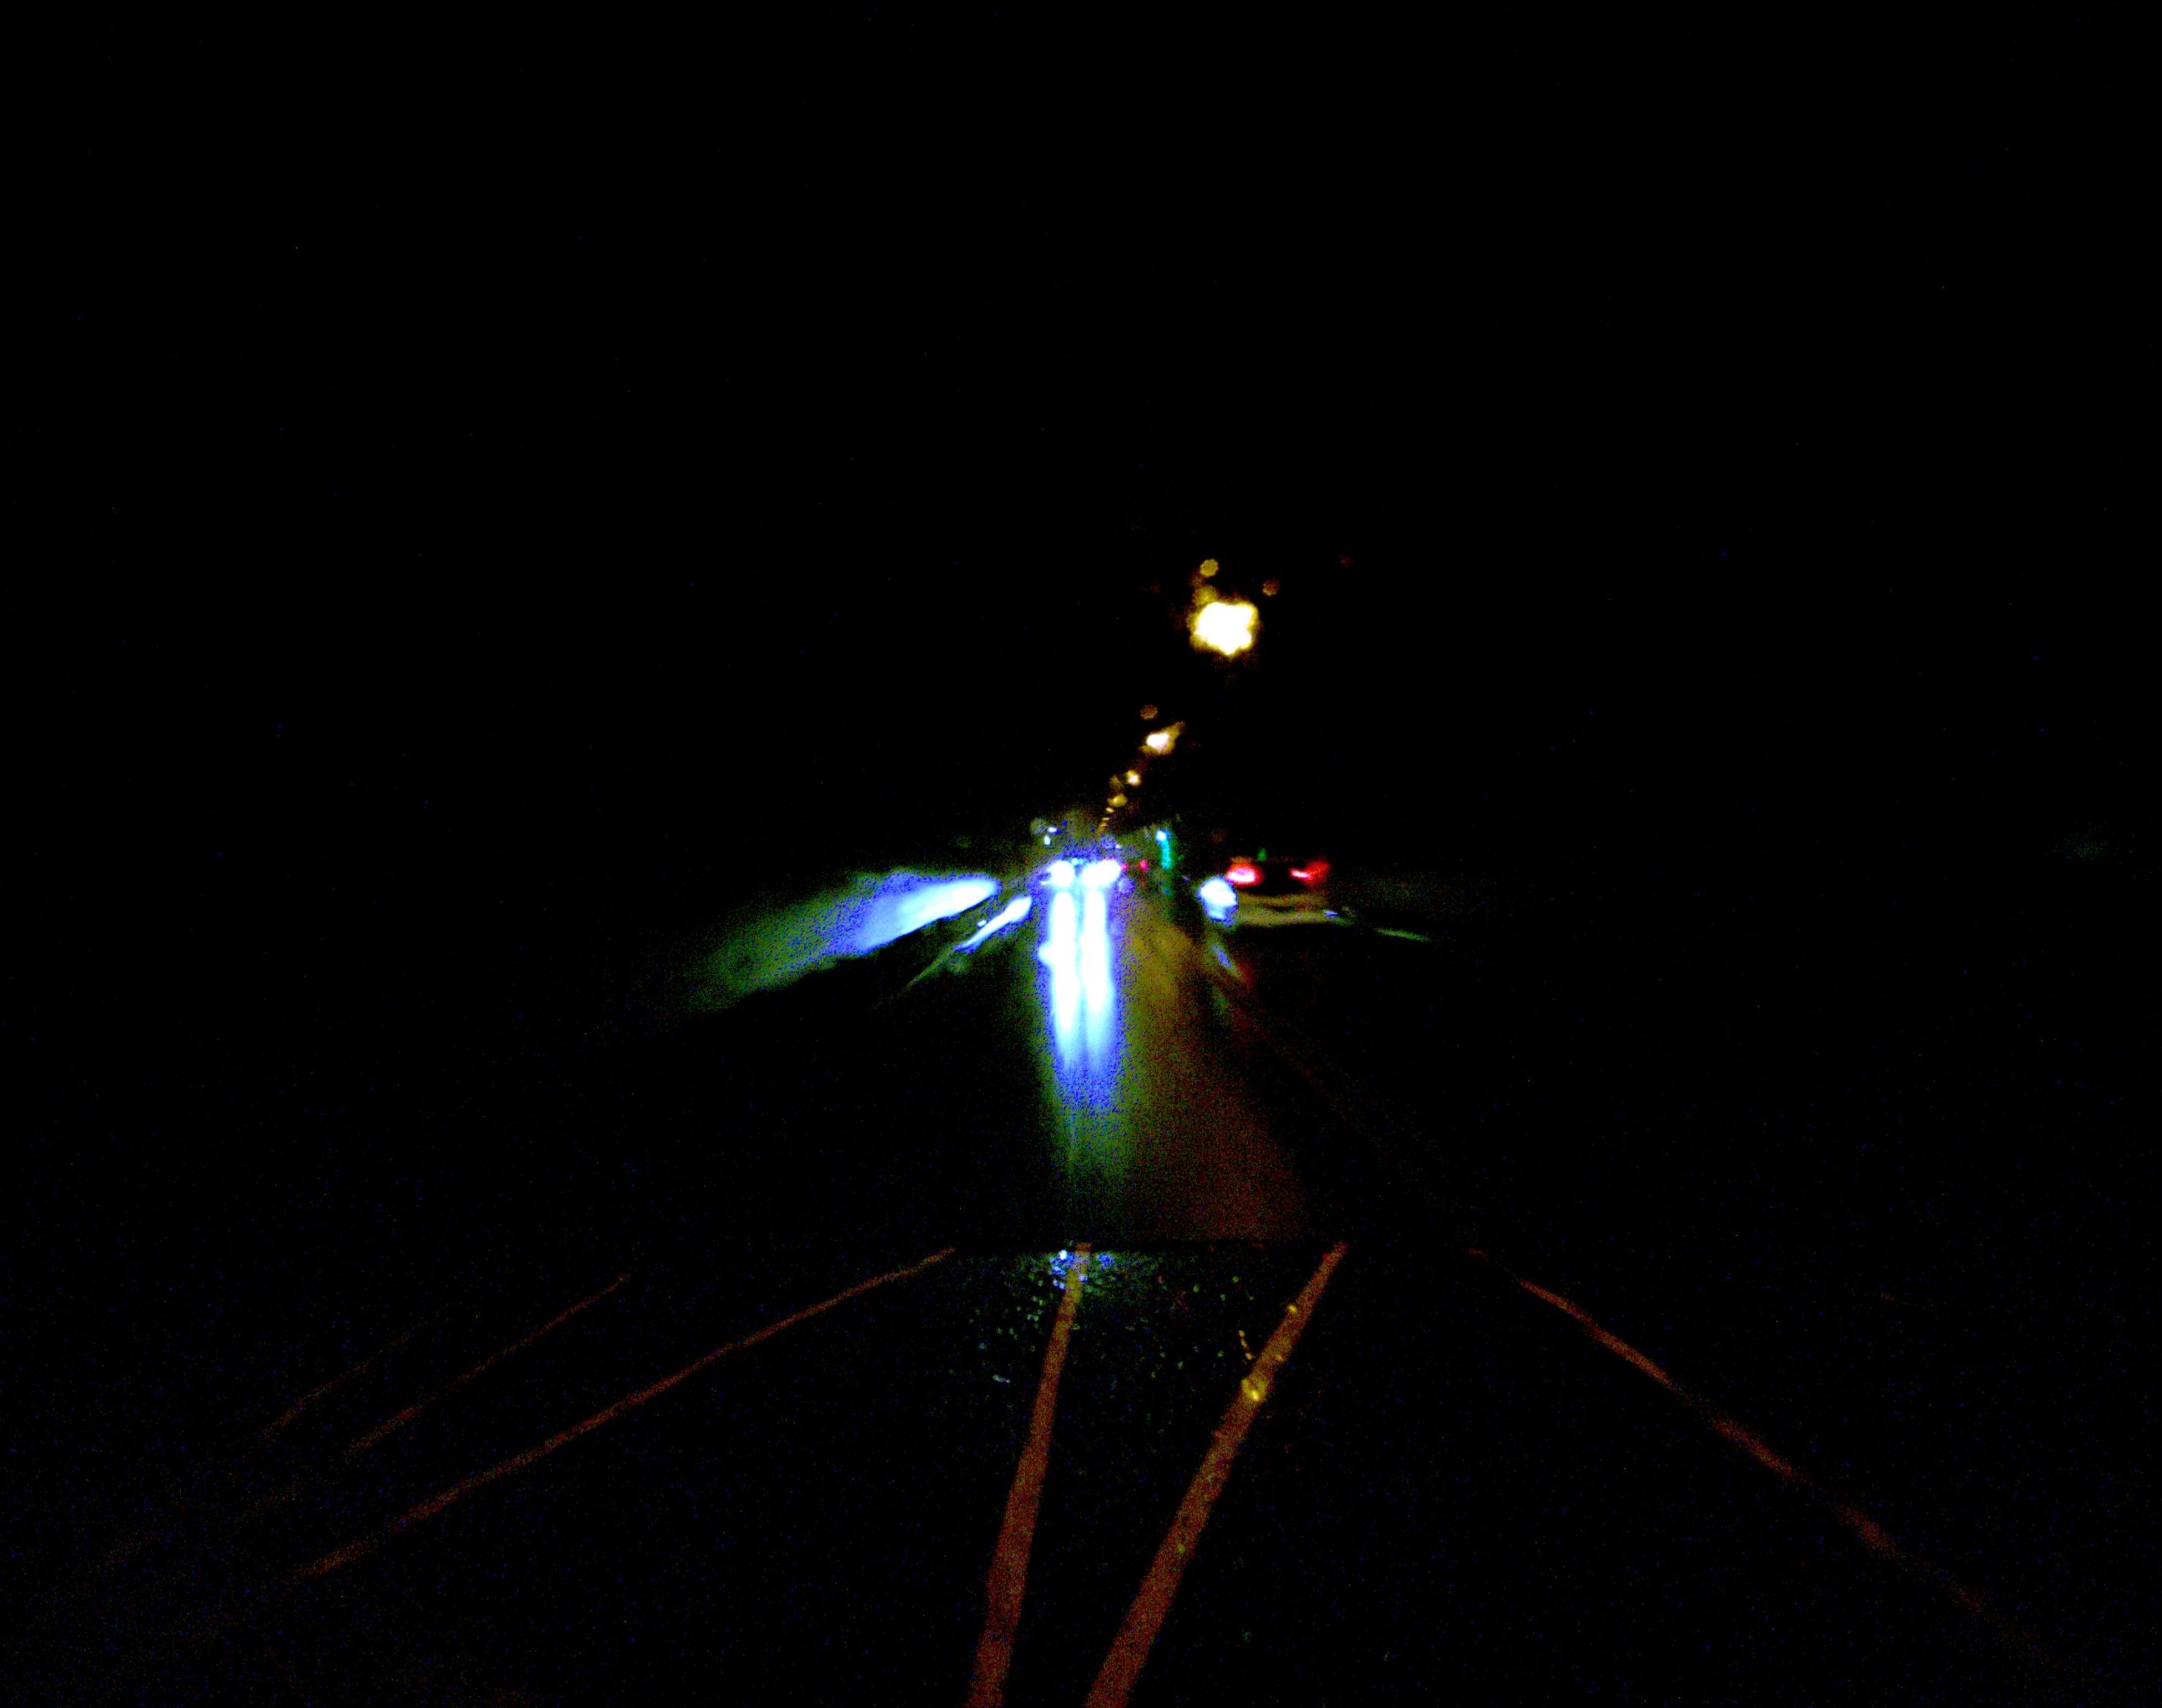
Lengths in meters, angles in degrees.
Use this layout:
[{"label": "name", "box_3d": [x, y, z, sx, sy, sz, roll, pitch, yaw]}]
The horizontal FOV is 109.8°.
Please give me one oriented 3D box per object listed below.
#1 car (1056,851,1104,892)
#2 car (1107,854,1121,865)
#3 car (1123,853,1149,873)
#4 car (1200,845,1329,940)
[{"label": "car", "box_3d": [-0.069, 0.780, 35.735, 1.999, 1.547, 3.998, -5, 2, 0]}, {"label": "car", "box_3d": [4.459, 0.748, 103.839, 1.695, 1.496, 3.744, -2, 0, 0]}, {"label": "car", "box_3d": [4.118, 0.663, 57.195, 1.715, 1.454, 3.575, -1, 0, 1]}, {"label": "car", "box_3d": [3.518, 0.687, 15.231, 1.673, 1.637, 3.907, 1, -1, 1]}]
